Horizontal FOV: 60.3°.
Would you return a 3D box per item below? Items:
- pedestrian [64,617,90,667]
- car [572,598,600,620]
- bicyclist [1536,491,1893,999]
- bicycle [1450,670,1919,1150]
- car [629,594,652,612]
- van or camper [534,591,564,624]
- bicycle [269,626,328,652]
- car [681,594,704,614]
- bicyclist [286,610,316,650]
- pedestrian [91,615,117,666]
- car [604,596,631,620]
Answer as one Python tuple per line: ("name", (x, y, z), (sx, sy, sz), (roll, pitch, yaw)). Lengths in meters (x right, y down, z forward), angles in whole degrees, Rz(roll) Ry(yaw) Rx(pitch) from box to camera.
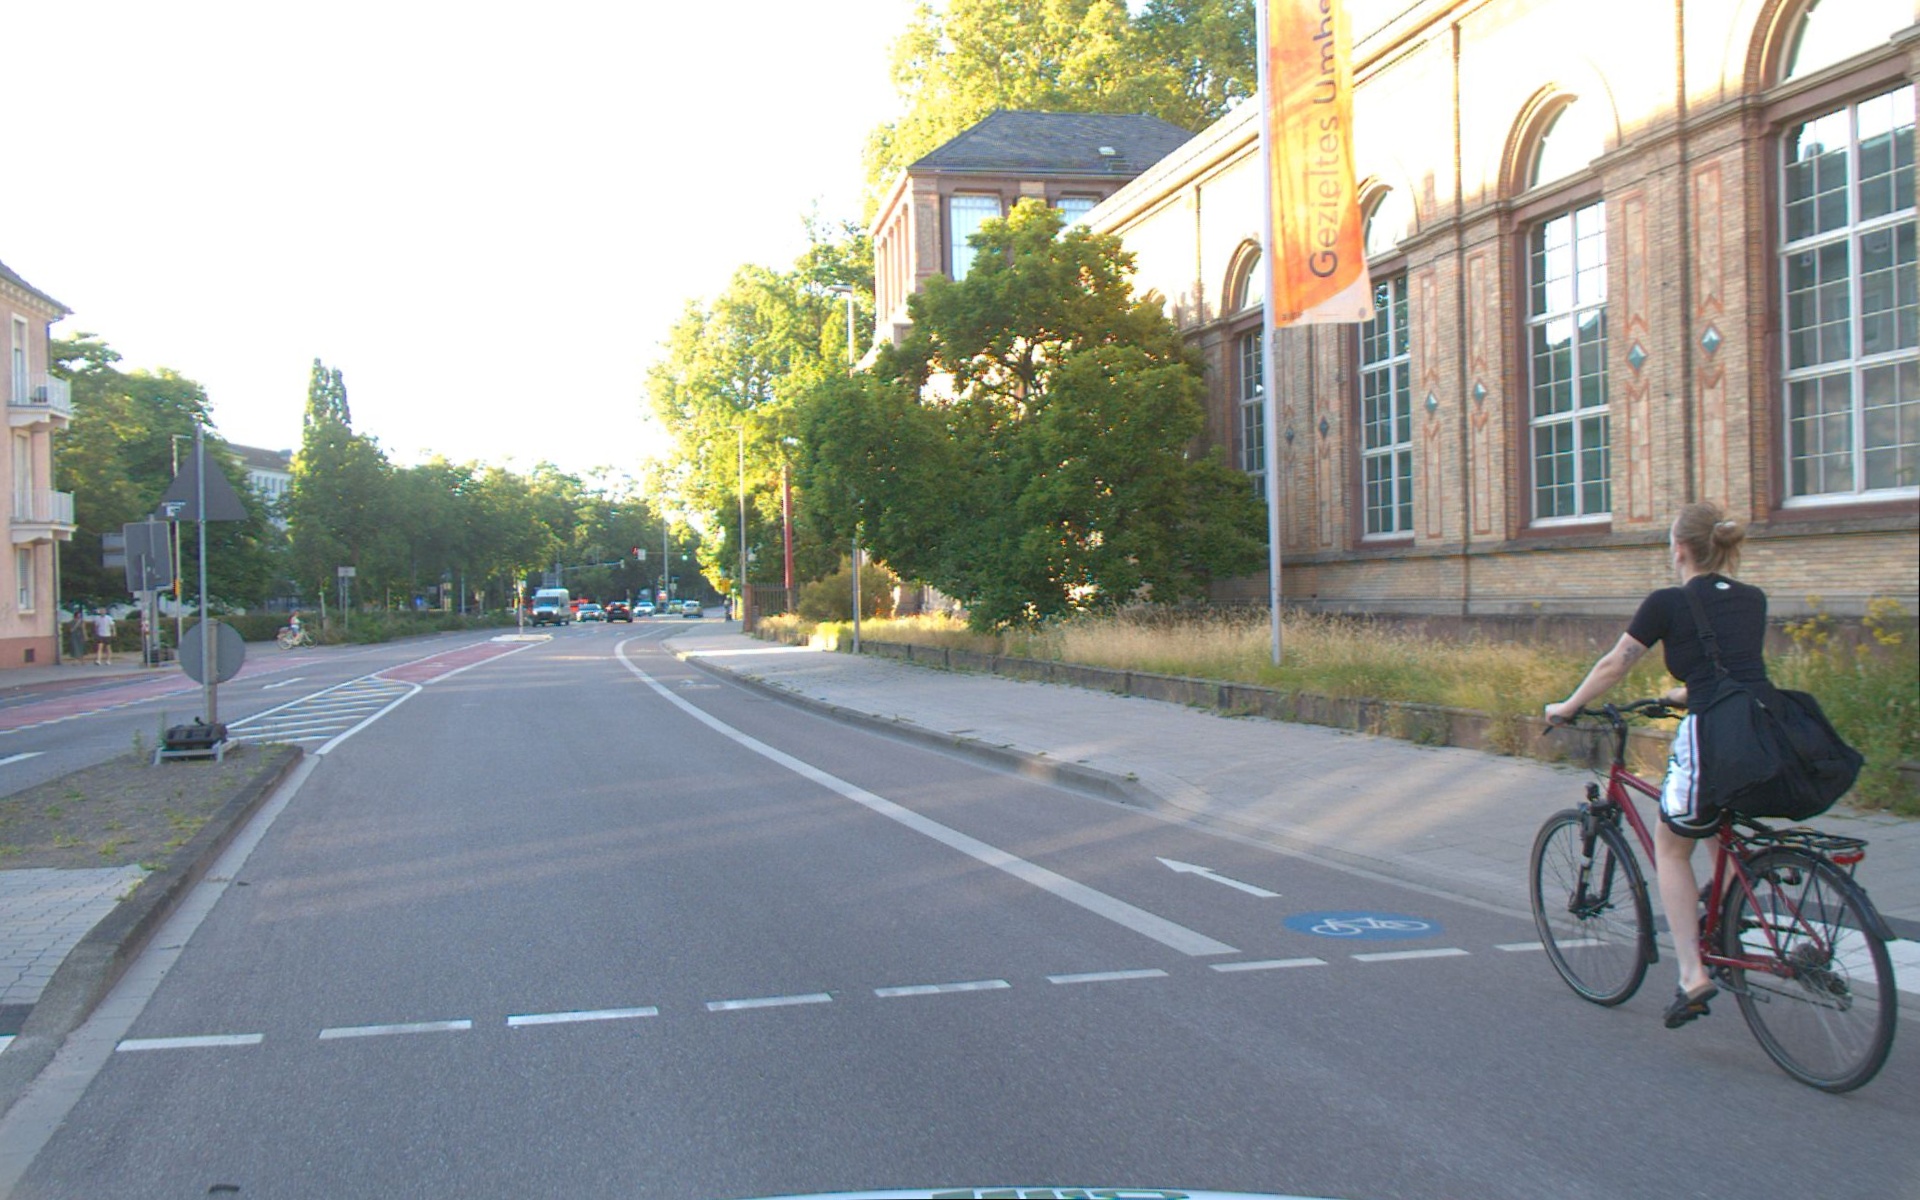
("pedestrian", (-28.361, 1.349, 53.122), (0.606, 1.561, 0.686), (-2, 0, -20))
("car", (-31.351, 0.723, 138.657), (1.956, 1.750, 3.992), (-2, 0, -8))
("bicyclist", (2.458, 0.433, 5.471), (0.703, 1.529, 0.848), (0, 0, -12))
("bicycle", (2.453, 0.866, 5.461), (0.699, 1.176, 2.062), (0, 0, -12))
("car", (-32.938, 0.316, 170.736), (1.955, 1.750, 3.995), (-2, 0, -6))
("van or camper", (-29.274, 0.501, 117.863), (1.797, 2.232, 4.408), (-2, 0, -12))
("bicycle", (-27.485, 1.622, 68.734), (0.758, 0.945, 2.185), (-2, 0, 38))
("car", (-24.764, 0.323, 153.295), (1.956, 1.750, 3.993), (-2, 0, -7))
("bicyclist", (-27.419, 1.262, 68.853), (0.739, 1.624, 0.869), (-2, 0, 38))
("pedestrian", (-27.523, 1.290, 53.190), (0.606, 1.601, 0.720), (-2, 0, -20))
("car", (-26.727, 0.600, 129.190), (1.958, 1.750, 3.990), (-2, 0, -10))
